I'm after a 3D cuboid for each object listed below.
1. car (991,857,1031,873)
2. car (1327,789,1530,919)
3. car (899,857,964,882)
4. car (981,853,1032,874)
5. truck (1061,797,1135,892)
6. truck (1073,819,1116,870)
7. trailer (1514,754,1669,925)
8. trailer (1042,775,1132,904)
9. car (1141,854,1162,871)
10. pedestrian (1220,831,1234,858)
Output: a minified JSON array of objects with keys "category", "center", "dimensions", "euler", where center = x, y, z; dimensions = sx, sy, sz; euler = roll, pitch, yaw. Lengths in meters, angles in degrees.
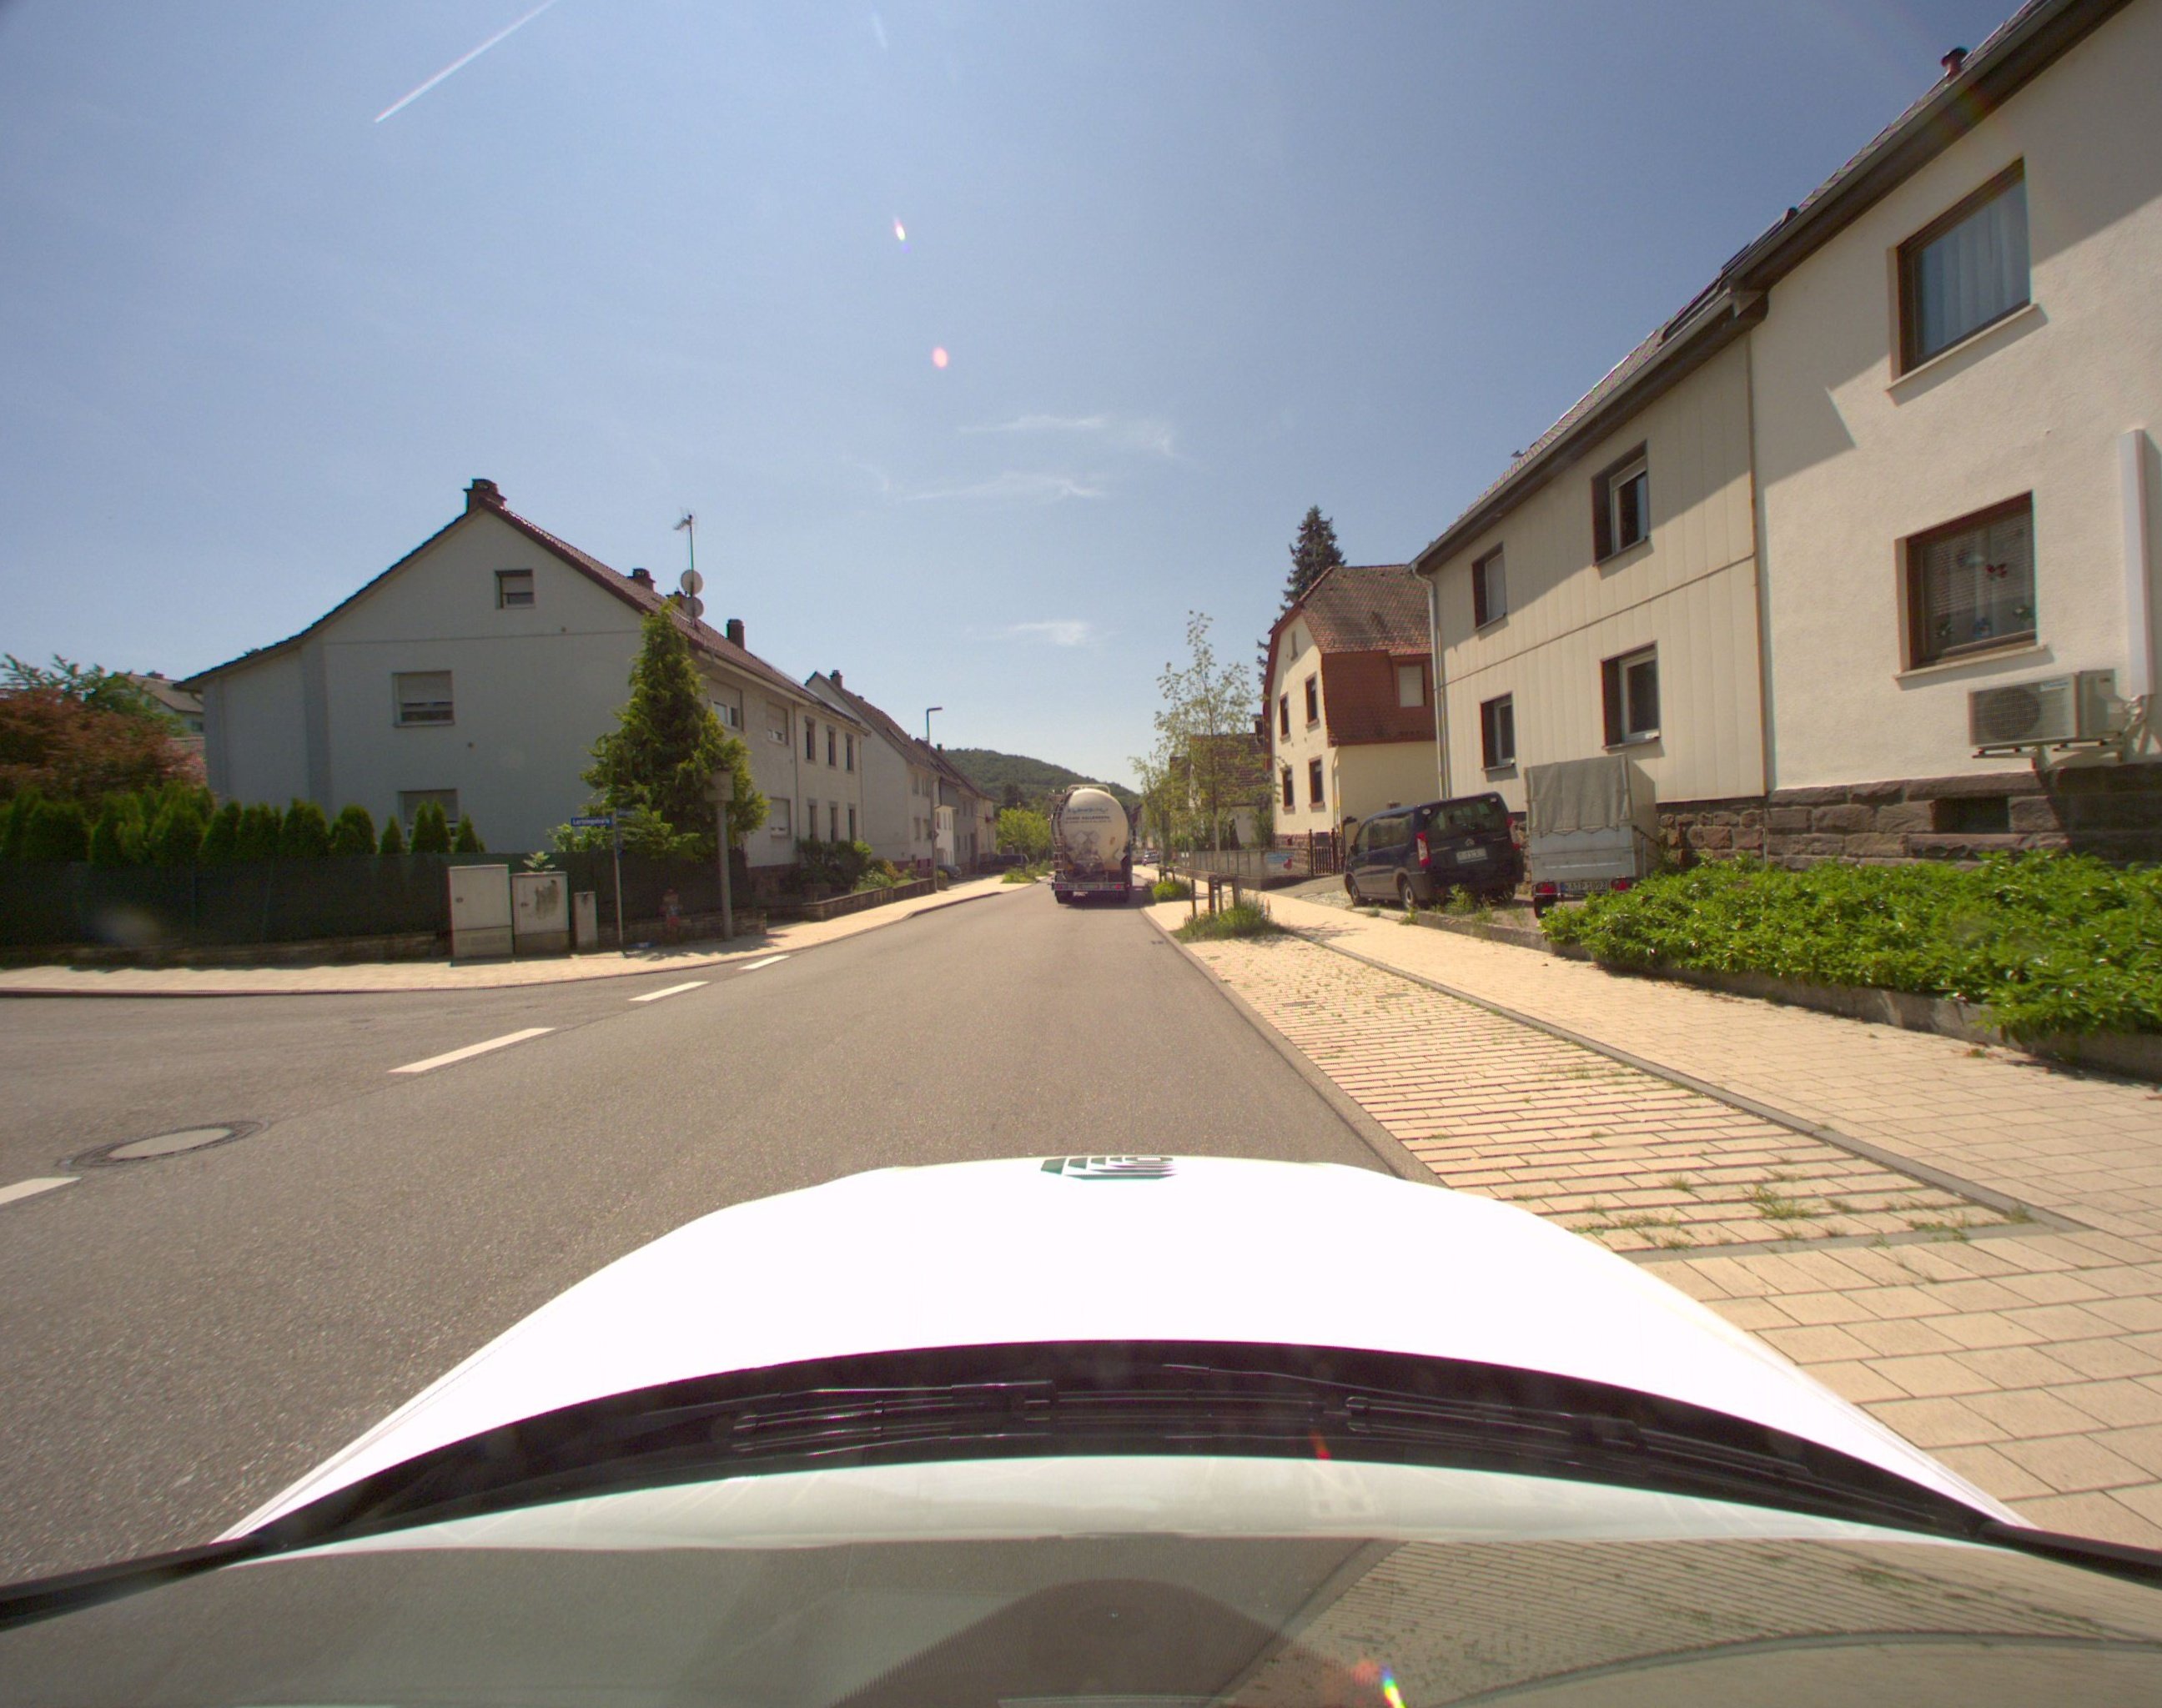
[{"category":"car","center":[-6.729,1.056,77.924],"dimensions":[3.505,1.439,1.710],"euler":[-2,0,35]},{"category":"car","center":[6.478,0.009,15.887],"dimensions":[1.846,1.971,4.774],"euler":[-6,0,1]},{"category":"car","center":[-10.050,1.029,55.038],"dimensions":[3.973,1.545,1.832],"euler":[-1,0,0]},{"category":"car","center":[-6.750,0.881,73.693],"dimensions":[4.381,1.750,1.877],"euler":[-2,0,-1]},{"category":"truck","center":[0.909,-0.382,37.264],"dimensions":[2.794,3.937,6.109],"euler":[-1,0,6]},{"category":"truck","center":[1.292,-0.930,85.535],"dimensions":[3.900,4.895,9.789],"euler":[-3,0,-2]},{"category":"trailer","center":[6.853,-0.172,10.872],"dimensions":[1.307,2.014,2.287],"euler":[-2,-1,43]},{"category":"trailer","center":[0.452,-0.428,30.678],"dimensions":[2.785,4.001,10.331],"euler":[0,0,3]},{"category":"car","center":[7.274,0.881,84.136],"dimensions":[1.784,1.541,4.521],"euler":[-5,-1,2]},{"category":"pedestrian","center":[9.003,-0.589,50.253],"dimensions":[0.602,1.615,0.552],"euler":[-7,0,0]}]
